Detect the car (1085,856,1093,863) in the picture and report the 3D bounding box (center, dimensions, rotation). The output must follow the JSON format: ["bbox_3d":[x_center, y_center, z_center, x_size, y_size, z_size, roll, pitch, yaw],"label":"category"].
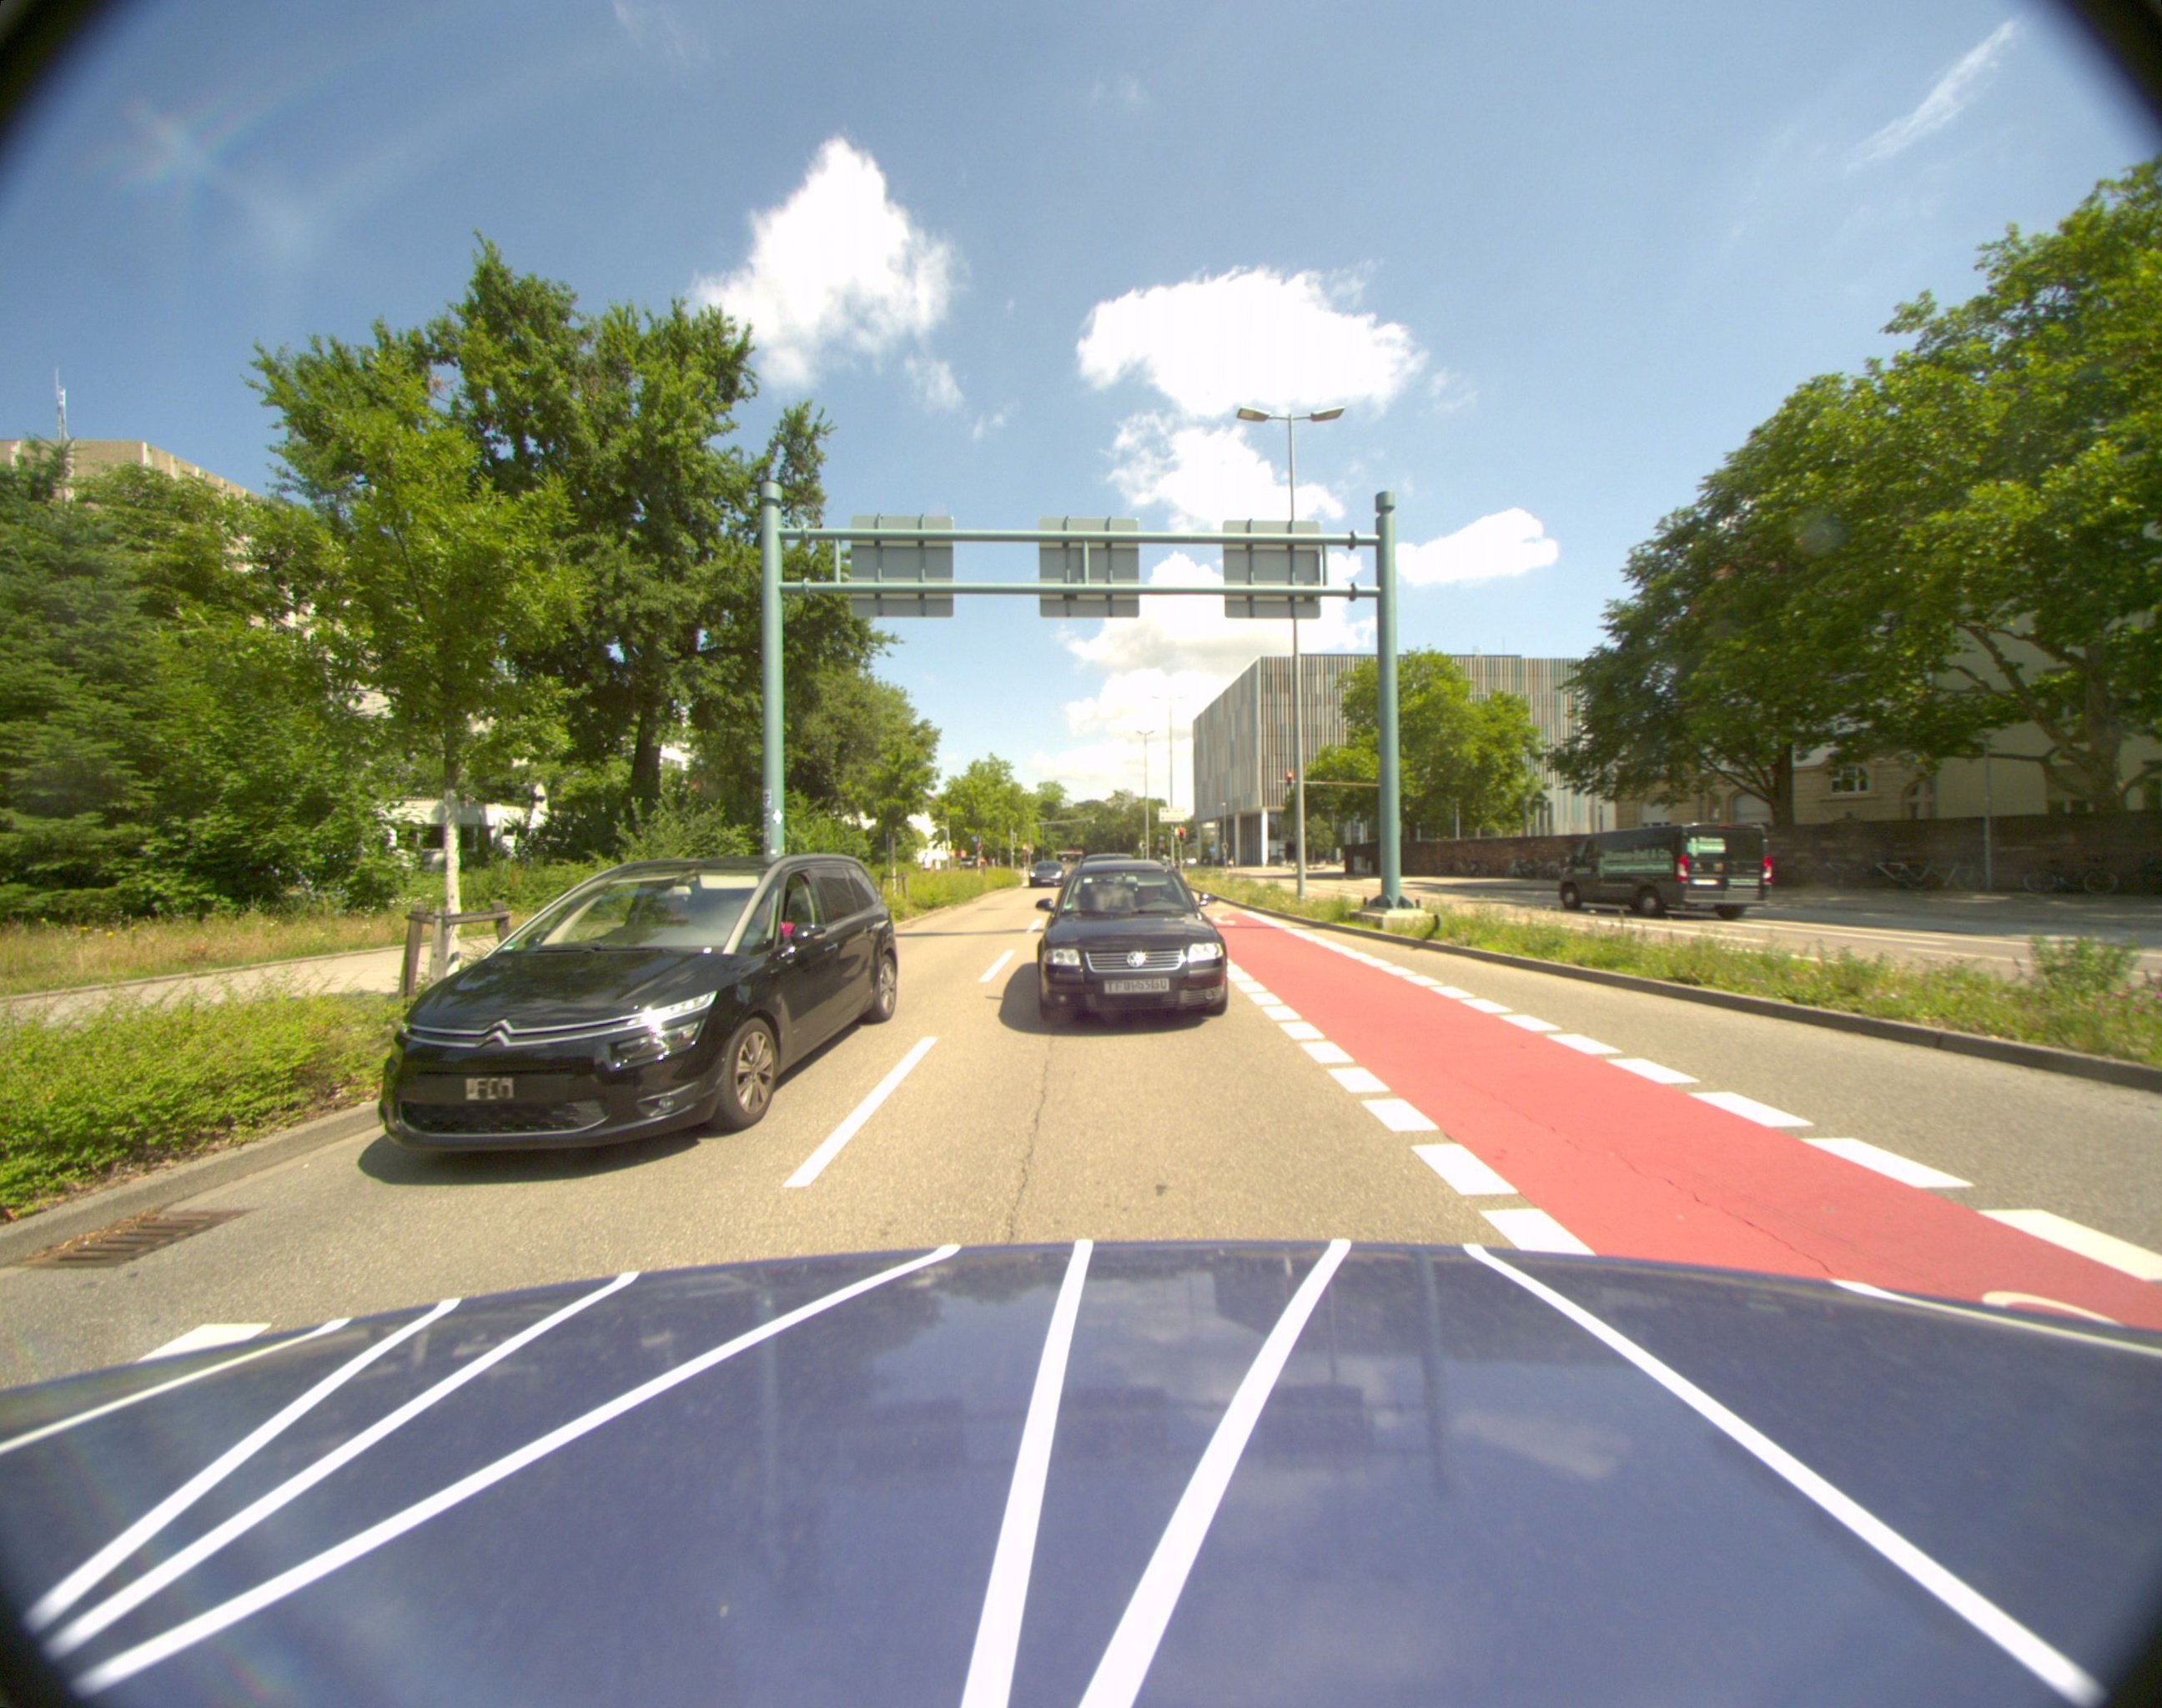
[{"bbox_3d":[2.140,1.401,198.341,1.758,1.581,4.275,-1,0,-4],"label":"car"}]

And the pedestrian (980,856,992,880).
[{"bbox_3d":[-6.949,1.021,55.795,0.640,1.754,0.885,-1,0,-22],"label":"pedestrian"}]

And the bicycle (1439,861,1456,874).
[{"bbox_3d":[22.492,0.825,46.663,0.265,0.826,1.235,-1,0,-11],"label":"bicycle"}]

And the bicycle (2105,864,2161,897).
[{"bbox_3d":[27.127,0.674,19.360,0.265,0.826,1.234,-1,0,-13],"label":"bicycle"}]

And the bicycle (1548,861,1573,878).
[{"bbox_3d":[23.665,0.752,37.483,0.265,0.826,1.235,-1,0,-11],"label":"bicycle"}]

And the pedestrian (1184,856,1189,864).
[{"bbox_3d":[18.074,0.996,130.033,0.696,1.445,0.689,-1,0,5],"label":"pedestrian"}]

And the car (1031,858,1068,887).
[{"bbox_3d":[-1.682,0.984,41.896,1.806,1.361,4.157,-1,1,1],"label":"car"}]

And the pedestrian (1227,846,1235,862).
[{"bbox_3d":[18.845,0.054,95.406,0.864,2.002,0.995,-1,0,-1],"label":"pedestrian"}]

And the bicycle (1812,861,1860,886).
[{"bbox_3d":[25.684,0.661,25.865,0.265,0.826,1.235,-1,0,-11],"label":"bicycle"}]

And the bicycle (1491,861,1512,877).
[{"bbox_3d":[23.155,0.821,41.817,0.265,0.826,1.234,-1,0,-11],"label":"bicycle"}]

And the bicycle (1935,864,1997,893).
[{"bbox_3d":[26.242,0.724,22.543,0.265,0.826,1.235,-1,0,-11],"label":"bicycle"}]

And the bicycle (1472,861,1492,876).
[{"bbox_3d":[22.930,0.811,43.444,0.265,0.826,1.234,-1,0,-11],"label":"bicycle"}]

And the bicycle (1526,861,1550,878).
[{"bbox_3d":[23.460,0.791,39.010,0.265,0.826,1.235,-1,0,-11],"label":"bicycle"}]

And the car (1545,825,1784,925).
[{"bbox_3d":[14.408,0.471,19.270,2.153,2.162,5.018,1,0,0],"label":"car"}]

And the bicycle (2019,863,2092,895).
[{"bbox_3d":[26.640,0.671,20.787,0.265,0.826,1.234,-1,0,-13],"label":"bicycle"}]

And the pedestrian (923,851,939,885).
[{"bbox_3d":[-8.977,0.814,45.528,0.845,2.026,0.901,-1,0,-4],"label":"pedestrian"}]

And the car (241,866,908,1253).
[{"bbox_3d":[-2.762,0.953,5.616,1.816,1.598,4.479,-3,0,1],"label":"car"}]

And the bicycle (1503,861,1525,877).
[{"bbox_3d":[22.854,0.799,40.098,0.265,0.826,1.234,-1,0,-11],"label":"bicycle"}]

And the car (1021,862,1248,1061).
[{"bbox_3d":[0.452,0.872,8.288,1.723,1.472,4.594,-3,0,1],"label":"car"}]

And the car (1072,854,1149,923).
[{"bbox_3d":[0.710,0.815,19.991,1.723,1.545,4.594,-3,0,1],"label":"car"}]

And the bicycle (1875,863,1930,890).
[{"bbox_3d":[25.975,0.703,24.052,0.265,0.826,1.235,-1,0,-11],"label":"bicycle"}]

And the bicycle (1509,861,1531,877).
[{"bbox_3d":[23.361,0.793,40.422,0.265,0.826,1.234,-1,0,-11],"label":"bicycle"}]

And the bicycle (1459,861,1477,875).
[{"bbox_3d":[22.809,0.833,44.768,0.265,0.826,1.235,-1,0,-11],"label":"bicycle"}]

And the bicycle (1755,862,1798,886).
[{"bbox_3d":[25.189,0.710,27.534,0.265,0.826,1.235,-1,0,-11],"label":"bicycle"}]

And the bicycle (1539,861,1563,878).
[{"bbox_3d":[23.221,0.752,37.547,0.265,0.826,1.234,-1,0,-11],"label":"bicycle"}]

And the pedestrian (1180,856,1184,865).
[{"bbox_3d":[16.825,1.037,126.543,0.696,1.445,0.689,-1,0,5],"label":"pedestrian"}]

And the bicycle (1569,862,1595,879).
[{"bbox_3d":[23.877,0.782,36.215,0.265,0.826,1.235,-1,0,-11],"label":"bicycle"}]
